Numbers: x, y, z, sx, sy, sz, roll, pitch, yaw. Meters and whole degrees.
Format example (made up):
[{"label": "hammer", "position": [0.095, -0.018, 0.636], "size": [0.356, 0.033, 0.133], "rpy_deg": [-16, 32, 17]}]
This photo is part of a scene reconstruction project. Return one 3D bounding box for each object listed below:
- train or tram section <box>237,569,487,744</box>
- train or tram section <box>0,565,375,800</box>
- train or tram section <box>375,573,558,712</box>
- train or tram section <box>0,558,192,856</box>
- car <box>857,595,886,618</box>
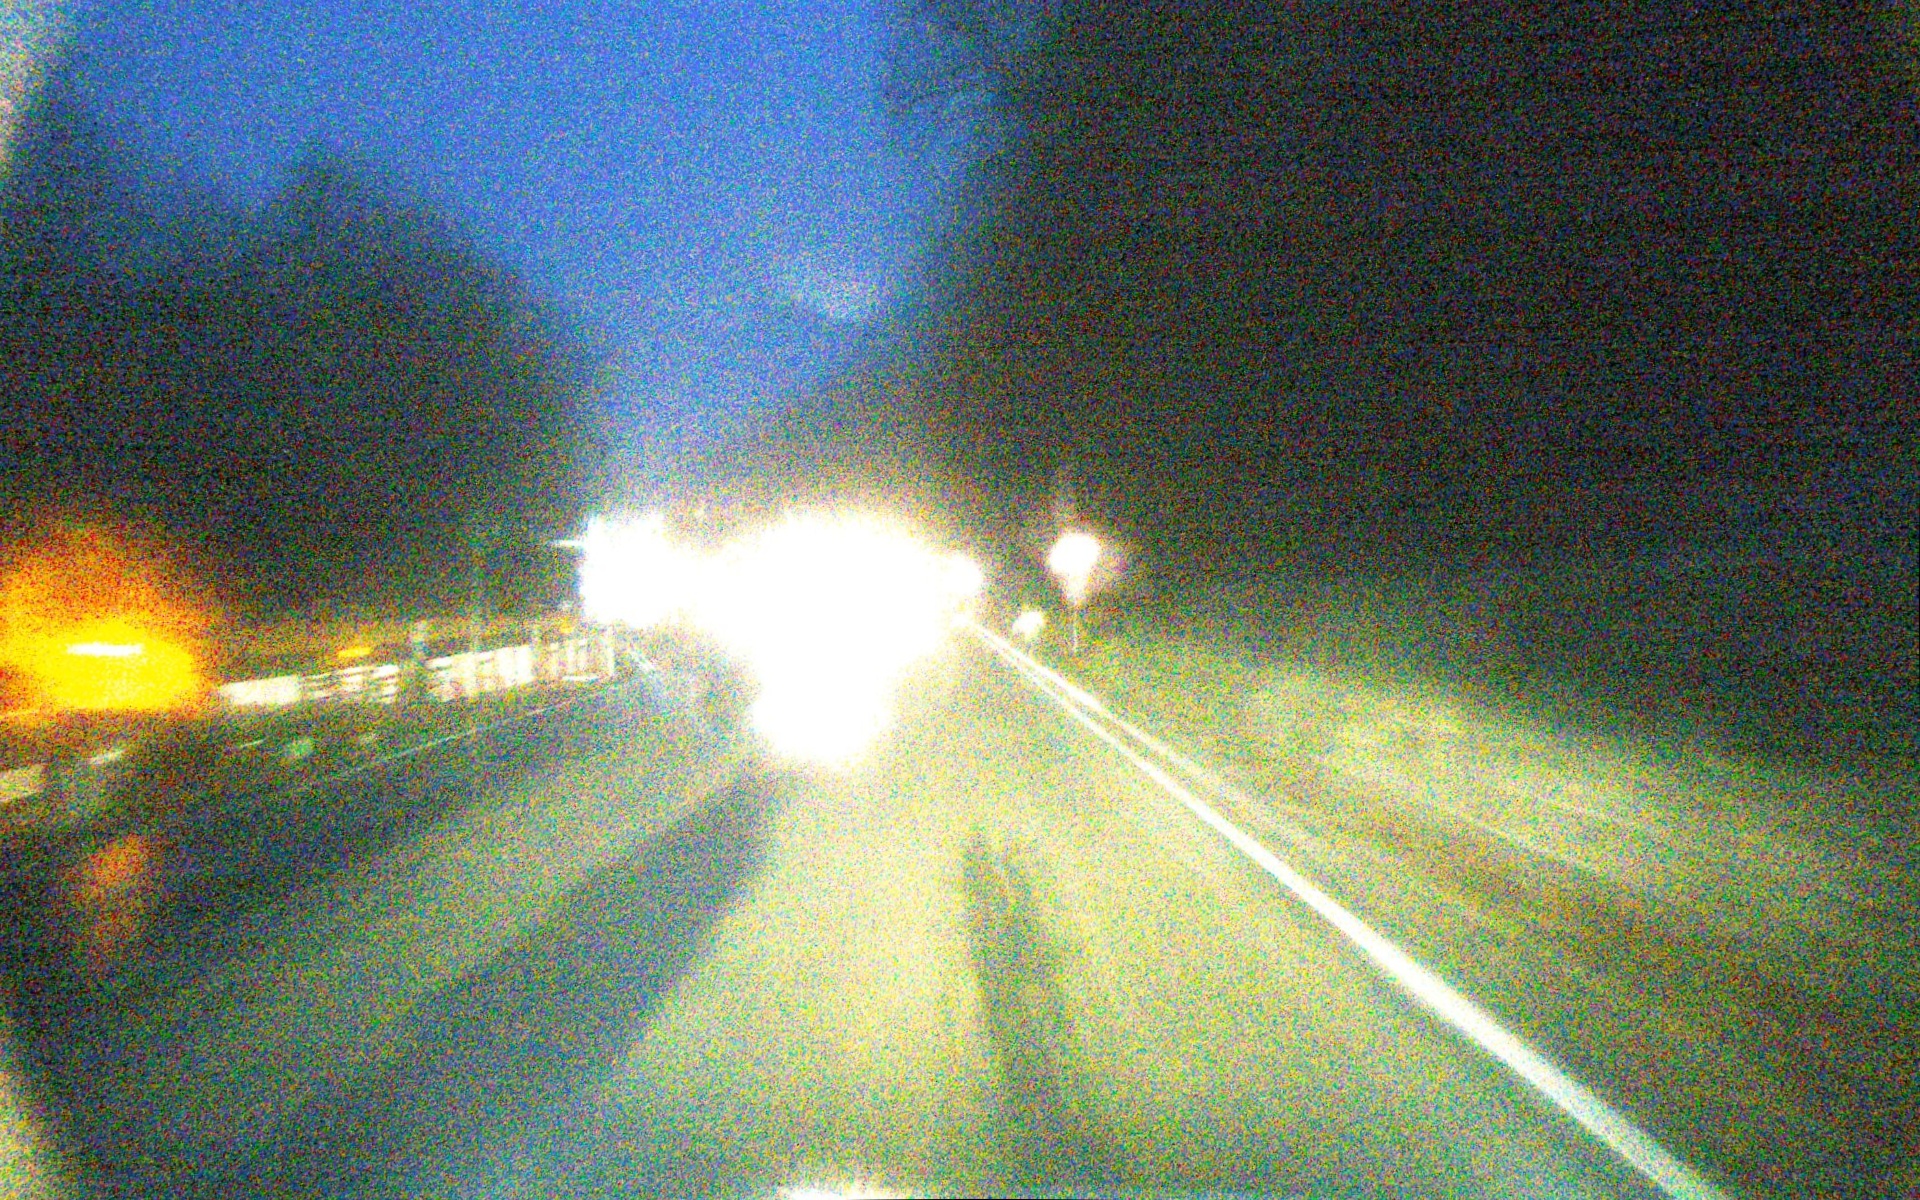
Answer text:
[{"label": "train or tram section", "position": [-13.267, 1.096, 37.583], "size": [2.786, 3.520, 8.550], "rpy_deg": [0, 0, -2]}, {"label": "train or tram section", "position": [-13.063, 1.201, 29.027], "size": [2.786, 3.520, 8.550], "rpy_deg": [0, 0, -2]}, {"label": "train or tram section", "position": [-13.532, 1.035, 46.146], "size": [2.786, 3.520, 8.550], "rpy_deg": [0, 0, -2]}, {"label": "train or tram section", "position": [-12.786, 1.258, 20.483], "size": [2.786, 3.520, 8.550], "rpy_deg": [0, 0, -2]}, {"label": "car", "position": [-6.205, 0.448, 115.876], "size": [1.954, 1.482, 4.096], "rpy_deg": [-1, 0, -3]}]
